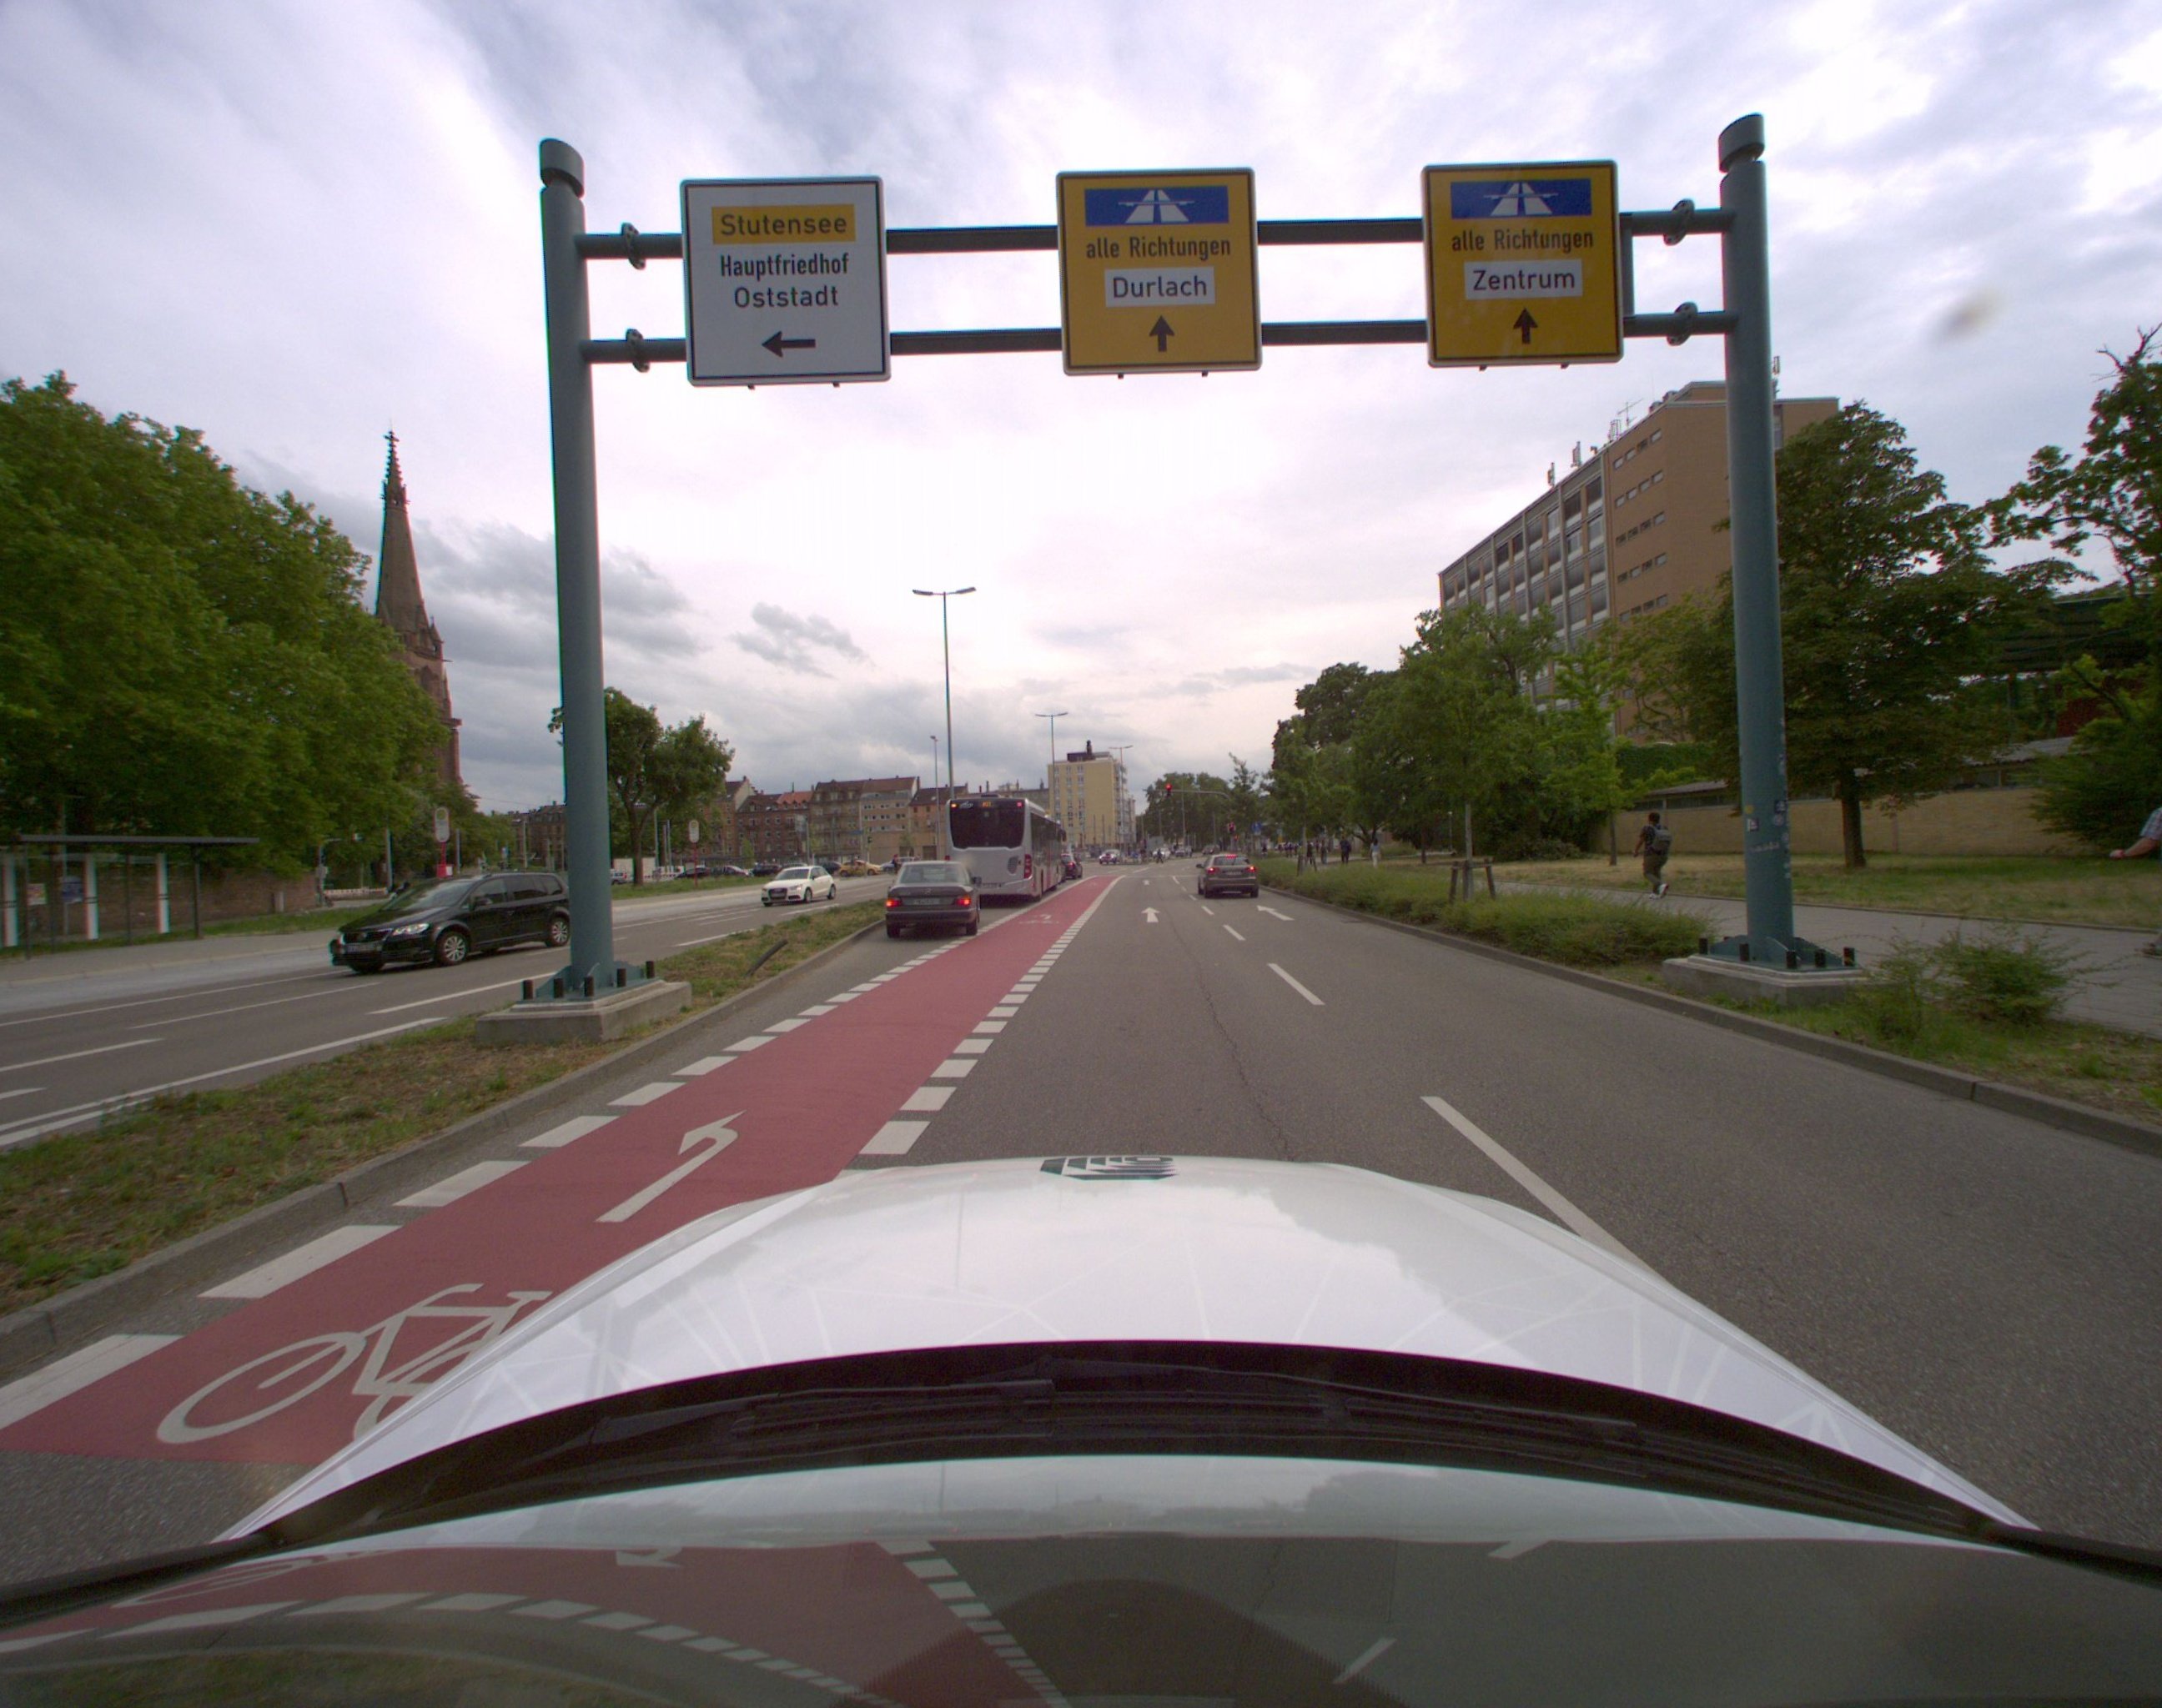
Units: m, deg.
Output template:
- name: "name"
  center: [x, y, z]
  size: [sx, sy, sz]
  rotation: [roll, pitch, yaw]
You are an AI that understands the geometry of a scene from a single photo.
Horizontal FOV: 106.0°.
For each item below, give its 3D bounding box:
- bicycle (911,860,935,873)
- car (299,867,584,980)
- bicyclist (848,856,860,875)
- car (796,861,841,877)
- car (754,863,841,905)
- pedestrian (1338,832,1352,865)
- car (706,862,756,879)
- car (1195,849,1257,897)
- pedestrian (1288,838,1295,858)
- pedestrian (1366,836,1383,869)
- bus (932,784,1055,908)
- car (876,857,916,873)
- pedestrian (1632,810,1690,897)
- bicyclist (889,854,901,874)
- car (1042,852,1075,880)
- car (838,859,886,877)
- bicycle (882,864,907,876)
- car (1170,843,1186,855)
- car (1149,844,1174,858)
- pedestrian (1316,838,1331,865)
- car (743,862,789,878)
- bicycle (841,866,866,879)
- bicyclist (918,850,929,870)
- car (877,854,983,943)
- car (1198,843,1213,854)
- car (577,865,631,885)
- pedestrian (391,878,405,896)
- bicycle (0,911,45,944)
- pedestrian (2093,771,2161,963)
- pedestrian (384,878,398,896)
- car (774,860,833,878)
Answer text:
- name: "bicycle"
  center: [-13.780, 1.081, 70.968]
  size: [1.957, 0.982, 0.631]
  rotation: [-3, 0, 0]
- name: "car"
  center: [-11.968, 1.192, 15.708]
  size: [1.794, 1.665, 4.304]
  rotation: [-4, 0, 3]
- name: "bicyclist"
  center: [-19.856, 1.012, 71.164]
  size: [0.784, 1.643, 0.572]
  rotation: [-3, 0, -2]
- name: "car"
  center: [-25.060, 1.406, 77.901]
  size: [3.753, 1.394, 1.584]
  rotation: [-1, 0, -2]
- name: "car"
  center: [-10.889, 1.109, 31.536]
  size: [1.663, 1.389, 3.927]
  rotation: [-3, 0, 4]
- name: "pedestrian"
  center: [13.996, -0.272, 43.199]
  size: [0.641, 1.713, 0.564]
  rotation: [-3, 0, 18]
- name: "car"
  center: [-31.622, 1.505, 73.651]
  size: [3.753, 1.394, 1.584]
  rotation: [-1, 0, -2]
- name: "car"
  center: [4.868, 0.585, 27.776]
  size: [1.716, 1.457, 3.741]
  rotation: [-2, 0, 5]
- name: "pedestrian"
  center: [21.869, -0.612, 84.635]
  size: [0.611, 2.013, 0.598]
  rotation: [-2, 0, 2]
- name: "pedestrian"
  center: [13.294, -0.082, 36.933]
  size: [0.651, 1.470, 0.564]
  rotation: [-3, 0, 20]
- name: "bus"
  center: [-2.597, -0.270, 27.096]
  size: [2.820, 3.390, 8.187]
  rotation: [-2, 0, 2]
- name: "car"
  center: [-17.883, 1.062, 78.734]
  size: [3.680, 1.394, 1.576]
  rotation: [-1, 0, -16]
- name: "pedestrian"
  center: [11.633, -0.022, 16.356]
  size: [0.585, 1.682, 0.749]
  rotation: [-3, 0, 4]
- name: "bicyclist"
  center: [-16.282, 0.879, 71.290]
  size: [0.783, 1.643, 0.573]
  rotation: [-3, 0, 3]
- name: "car"
  center: [-1.228, 0.638, 46.074]
  size: [1.649, 1.396, 3.861]
  rotation: [-2, 0, 1]
- name: "car"
  center: [-19.781, 1.234, 73.755]
  size: [3.846, 1.517, 1.659]
  rotation: [-1, 0, -2]
- name: "bicycle"
  center: [-16.350, 1.399, 71.297]
  size: [1.956, 0.982, 0.631]
  rotation: [-3, 0, 2]
- name: "car"
  center: [16.479, -0.820, 137.928]
  size: [1.792, 1.850, 4.019]
  rotation: [-3, 0, 18]
- name: "car"
  center: [12.754, -0.475, 128.824]
  size: [2.561, 2.109, 5.630]
  rotation: [-2, 0, 21]
- name: "pedestrian"
  center: [15.348, -0.165, 51.538]
  size: [0.795, 1.713, 0.768]
  rotation: [-3, 0, 16]
- name: "car"
  center: [-30.022, 1.502, 77.614]
  size: [3.753, 1.394, 1.584]
  rotation: [-1, 0, -2]
- name: "bicycle"
  center: [-19.840, 1.613, 71.155]
  size: [1.959, 0.982, 0.630]
  rotation: [-3, 0, -2]
- name: "bicyclist"
  center: [-13.743, 0.526, 70.974]
  size: [0.783, 1.643, 0.614]
  rotation: [-3, 0, 1]
- name: "car"
  center: [-2.913, 0.778, 16.459]
  size: [1.759, 1.489, 4.161]
  rotation: [-2, 0, -7]
- name: "car"
  center: [23.026, -1.003, 150.912]
  size: [1.977, 2.013, 4.020]
  rotation: [-2, 0, 20]
- name: "car"
  center: [-45.743, 1.979, 78.172]
  size: [4.144, 1.649, 1.645]
  rotation: [-3, 0, -3]
- name: "pedestrian"
  center: [-59.503, 2.861, 70.977]
  size: [0.560, 1.560, 0.725]
  rotation: [-3, 0, -2]
- name: "bicycle"
  center: [-32.782, 2.252, 24.973]
  size: [0.482, 0.907, 1.609]
  rotation: [0, -1, -20]
- name: "pedestrian"
  center: [10.053, 0.106, 7.414]
  size: [0.616, 1.735, 0.815]
  rotation: [-3, 0, 4]
- name: "pedestrian"
  center: [-60.465, 2.880, 71.389]
  size: [0.560, 1.560, 0.725]
  rotation: [-3, 0, -2]
- name: "car"
  center: [-24.977, 1.324, 73.358]
  size: [4.656, 1.475, 1.659]
  rotation: [-1, 0, -2]
